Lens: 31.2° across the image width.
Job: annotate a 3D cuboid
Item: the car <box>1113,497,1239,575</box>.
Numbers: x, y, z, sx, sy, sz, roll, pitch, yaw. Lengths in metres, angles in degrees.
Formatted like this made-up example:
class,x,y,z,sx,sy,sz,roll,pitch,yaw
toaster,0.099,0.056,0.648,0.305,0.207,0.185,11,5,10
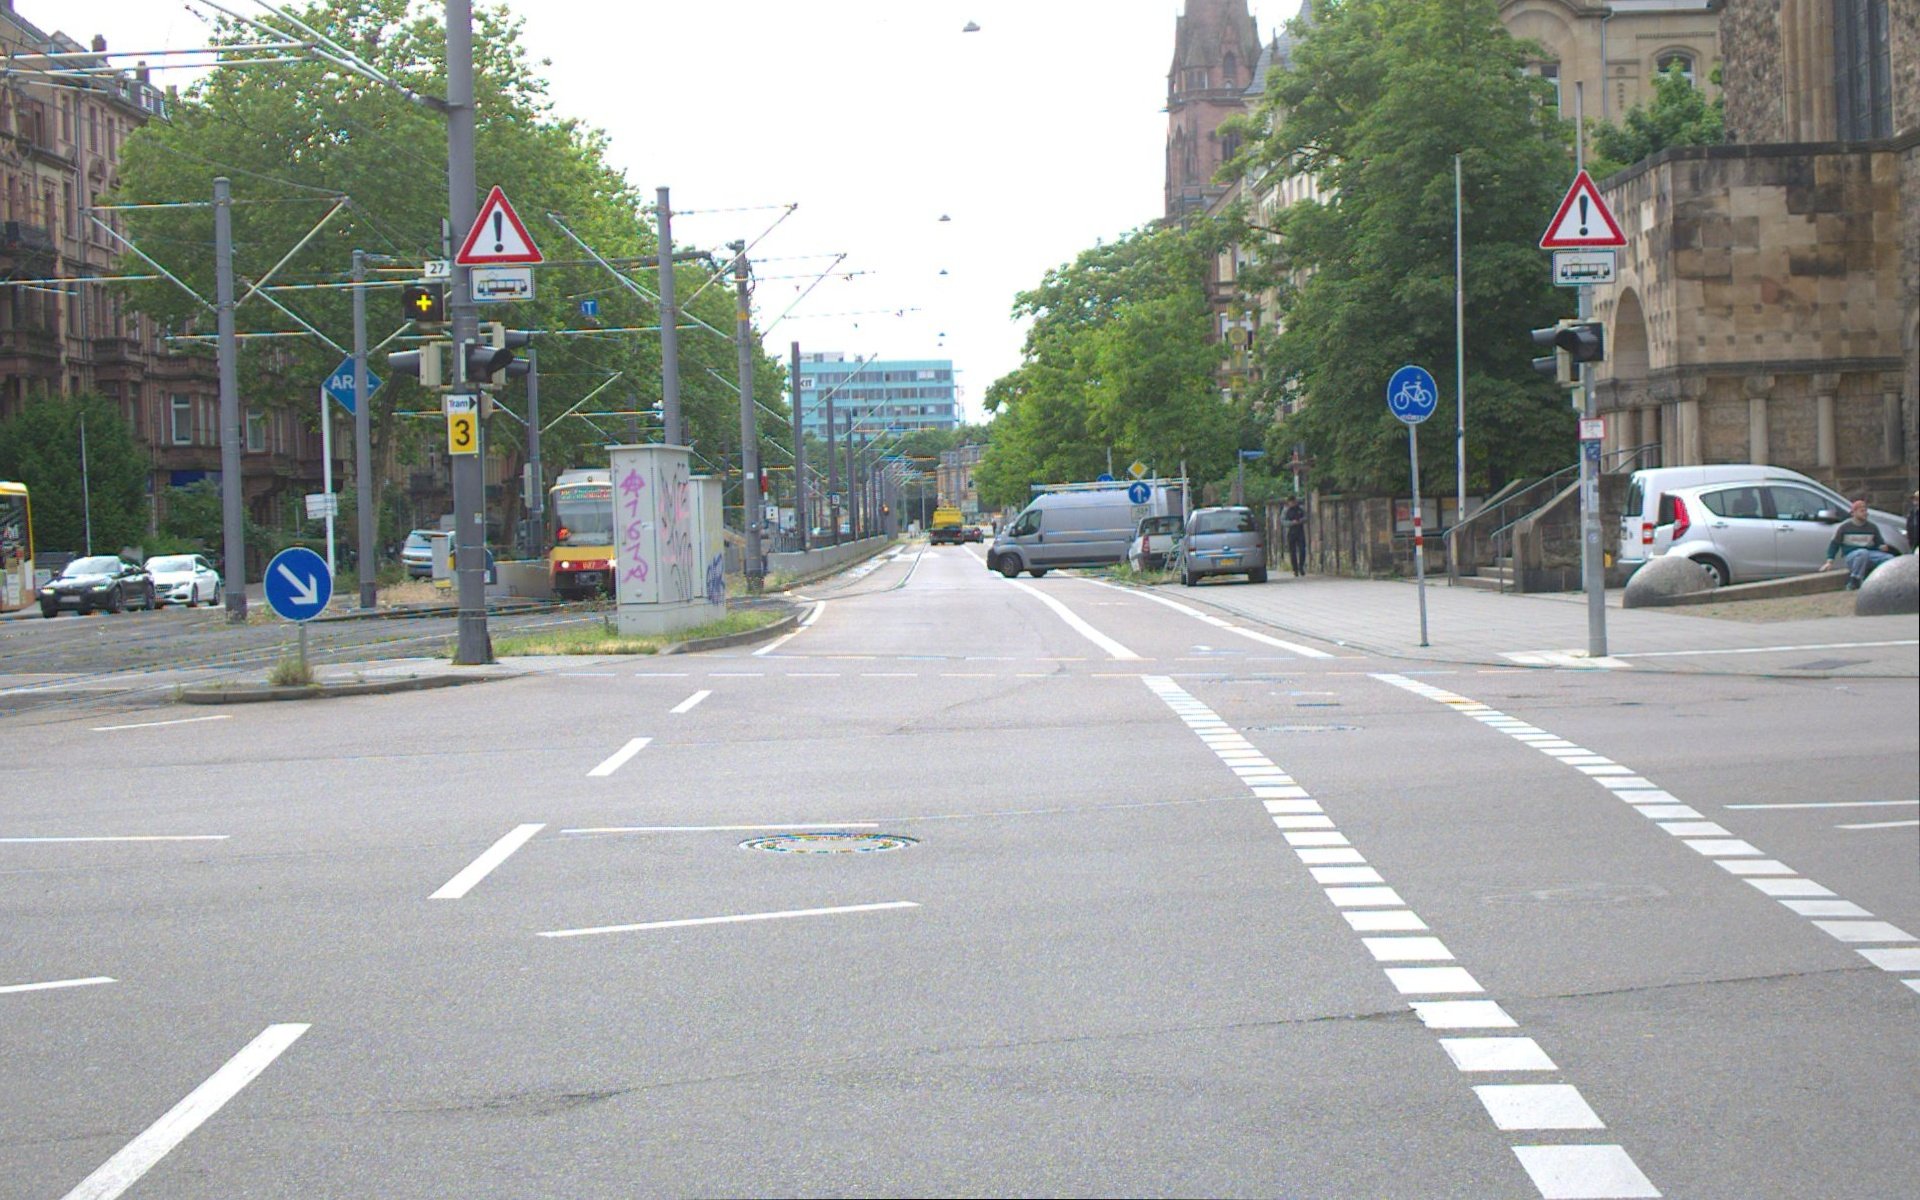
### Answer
class,x,y,z,sx,sy,sz,roll,pitch,yaw
car,5.132,-1.548,82.348,2.202,1.739,5.035,-2,2,-5

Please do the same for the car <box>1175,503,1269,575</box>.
class,x,y,z,sx,sy,sz,roll,pitch,yaw
car,5.472,-1.305,72.193,1.702,1.454,3.891,-1,2,0

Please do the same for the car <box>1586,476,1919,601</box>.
class,x,y,z,sx,sy,sz,roll,pitch,yaw
car,10.851,-0.846,46.784,4.348,1.630,1.663,-1,1,0

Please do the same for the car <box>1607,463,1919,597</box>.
class,x,y,z,sx,sy,sz,roll,pitch,yaw
car,11.922,-1.029,50.207,4.610,1.875,1.663,-1,1,0

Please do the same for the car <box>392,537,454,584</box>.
class,x,y,z,sx,sy,sz,roll,pitch,yaw
car,-20.523,-1.521,131.489,1.702,1.706,3.891,-1,1,0

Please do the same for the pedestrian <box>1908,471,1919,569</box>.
class,x,y,z,sx,sy,sz,roll,pitch,yaw
pedestrian,12.388,-1.019,43.489,0.737,1.224,1.062,0,1,15

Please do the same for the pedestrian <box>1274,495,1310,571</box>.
class,x,y,z,sx,sy,sz,roll,pitch,yaw
pedestrian,7.311,-1.477,75.625,0.776,1.641,0.798,0,1,6

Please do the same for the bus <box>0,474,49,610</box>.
class,x,y,z,sx,sy,sz,roll,pitch,yaw
bus,-21.725,-1.125,69.409,3.281,2.846,12.381,-1,2,0

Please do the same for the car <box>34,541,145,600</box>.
class,x,y,z,sx,sy,sz,roll,pitch,yaw
car,-21.379,-0.744,84.601,1.702,1.354,3.891,-1,2,0

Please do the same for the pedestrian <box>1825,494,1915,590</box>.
class,x,y,z,sx,sy,sz,roll,pitch,yaw
pedestrian,11.433,-0.734,43.252,0.736,1.187,1.493,-1,1,0

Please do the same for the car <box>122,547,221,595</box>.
class,x,y,z,sx,sy,sz,roll,pitch,yaw
car,-20.974,-0.787,91.608,1.702,1.217,3.891,-1,2,0

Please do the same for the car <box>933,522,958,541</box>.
class,x,y,z,sx,sy,sz,roll,pitch,yaw
car,-1.090,-5.156,259.540,1.804,1.336,4.001,-2,2,-1
